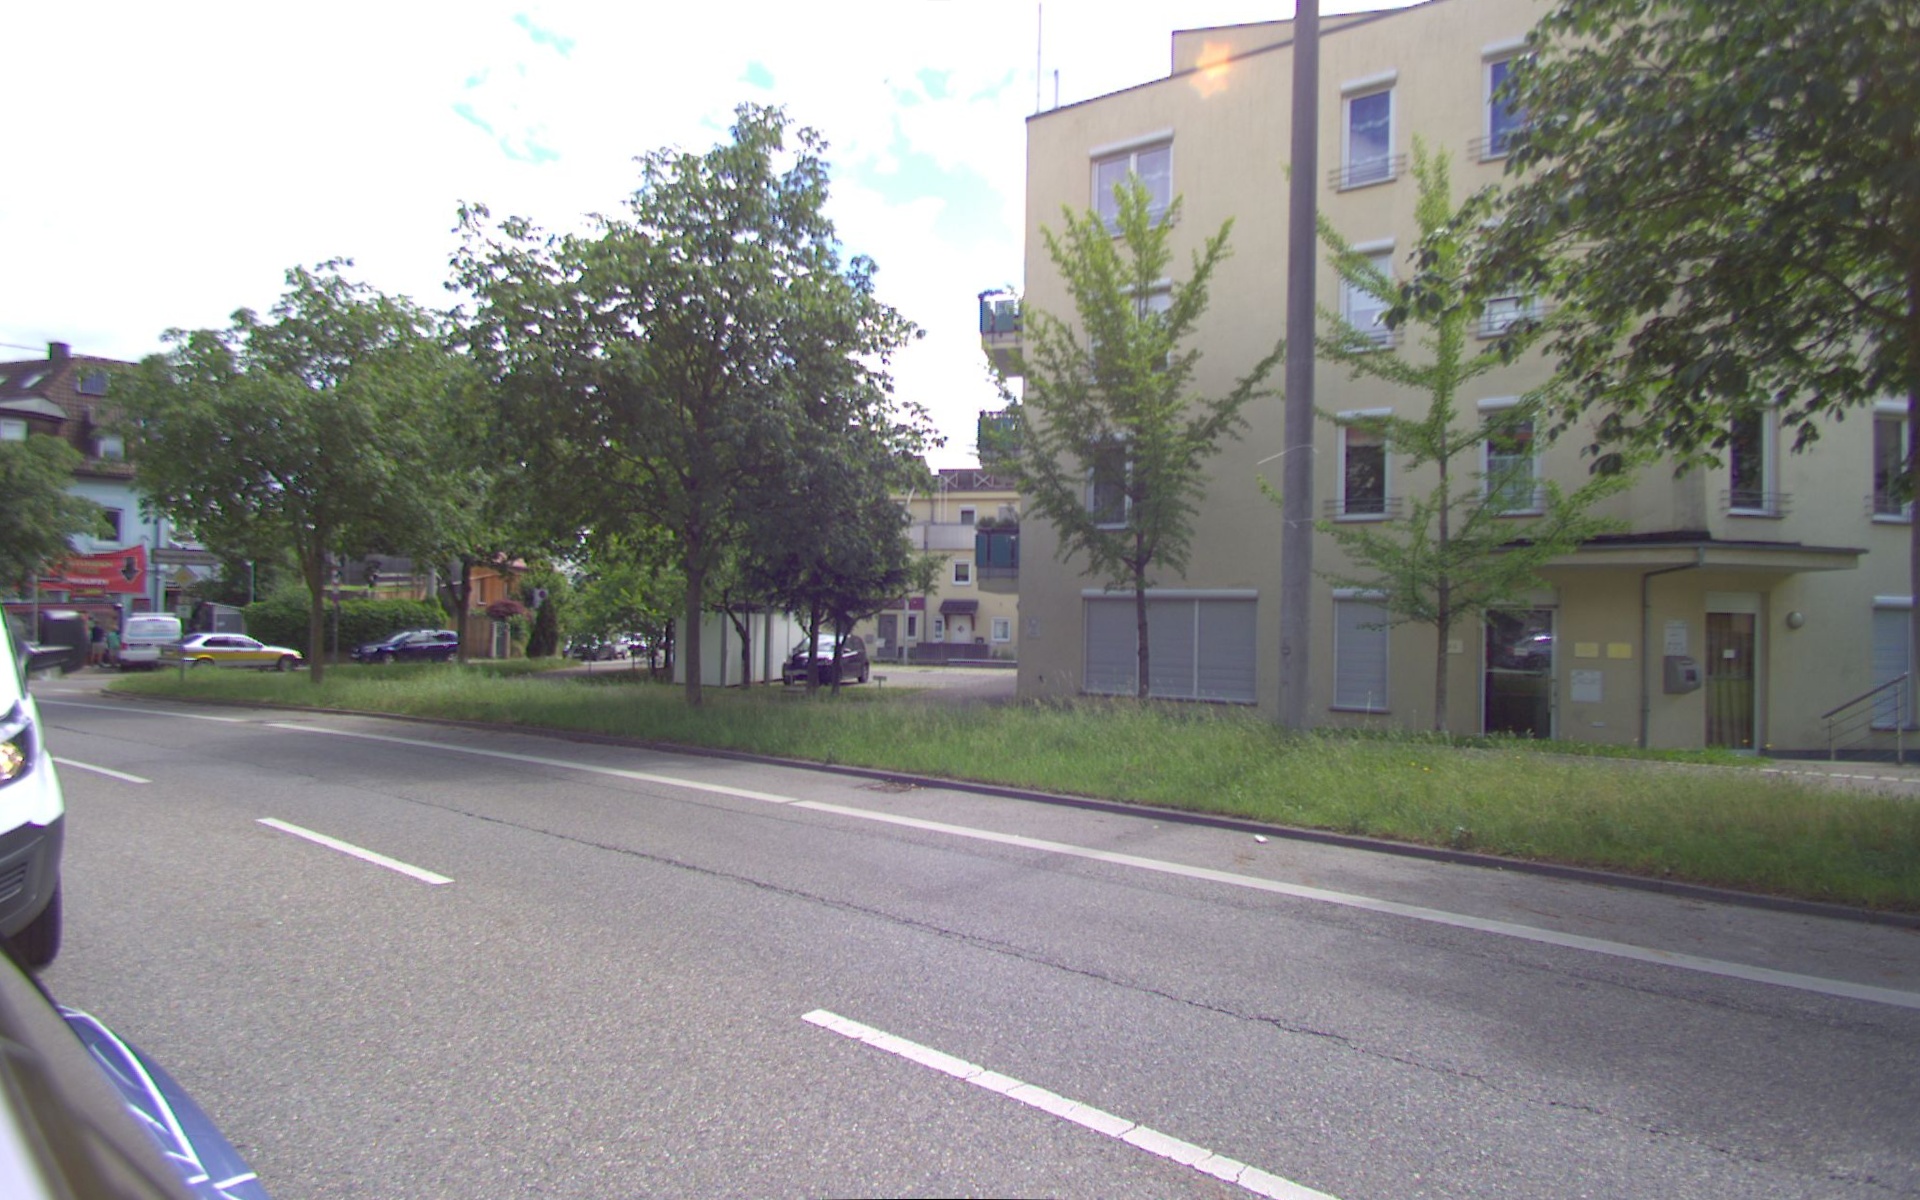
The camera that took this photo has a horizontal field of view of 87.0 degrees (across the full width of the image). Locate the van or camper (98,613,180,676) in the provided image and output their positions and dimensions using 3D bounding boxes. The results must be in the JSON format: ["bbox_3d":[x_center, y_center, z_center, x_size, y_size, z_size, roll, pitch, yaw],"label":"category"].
[{"bbox_3d":[-29.648,1.557,36.529,3.811,2.105,1.770,0,0,43],"label":"van or camper"}]

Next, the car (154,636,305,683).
[{"bbox_3d":[-25.295,2.010,35.173,1.529,1.332,4.008,-1,0,27],"label":"car"}]

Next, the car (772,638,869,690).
[{"bbox_3d":[-4.010,1.847,29.736,1.773,1.431,3.988,-1,-3,9],"label":"car"}]

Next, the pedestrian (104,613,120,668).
[{"bbox_3d":[-31.542,1.502,37.644,0.443,2.005,0.378,-1,0,41],"label":"pedestrian"}]

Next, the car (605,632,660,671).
[{"bbox_3d":[-19.144,2.978,59.321,1.971,2.029,4.001,-1,0,-1],"label":"car"}]

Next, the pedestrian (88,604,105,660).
[{"bbox_3d":[-31.849,1.167,37.316,0.363,2.029,0.419,-1,0,41],"label":"pedestrian"}]

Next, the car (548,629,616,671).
[{"bbox_3d":[-18.960,2.475,50.968,1.954,2.029,3.999,0,-2,0],"label":"car"}]

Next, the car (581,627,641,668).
[{"bbox_3d":[-18.942,2.540,55.123,1.971,2.029,4.001,-1,0,-1],"label":"car"}]

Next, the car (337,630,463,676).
[{"bbox_3d":[-21.797,2.024,39.510,1.715,1.695,3.928,0,-2,37],"label":"car"}]

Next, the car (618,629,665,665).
[{"bbox_3d":[-20.116,2.943,64.059,1.870,2.029,4.002,-1,0,-2],"label":"car"}]

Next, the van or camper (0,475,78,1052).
[{"bbox_3d":[-5.768,0.607,4.774,5.105,2.029,1.999,-2,-3,45],"label":"van or camper"}]
